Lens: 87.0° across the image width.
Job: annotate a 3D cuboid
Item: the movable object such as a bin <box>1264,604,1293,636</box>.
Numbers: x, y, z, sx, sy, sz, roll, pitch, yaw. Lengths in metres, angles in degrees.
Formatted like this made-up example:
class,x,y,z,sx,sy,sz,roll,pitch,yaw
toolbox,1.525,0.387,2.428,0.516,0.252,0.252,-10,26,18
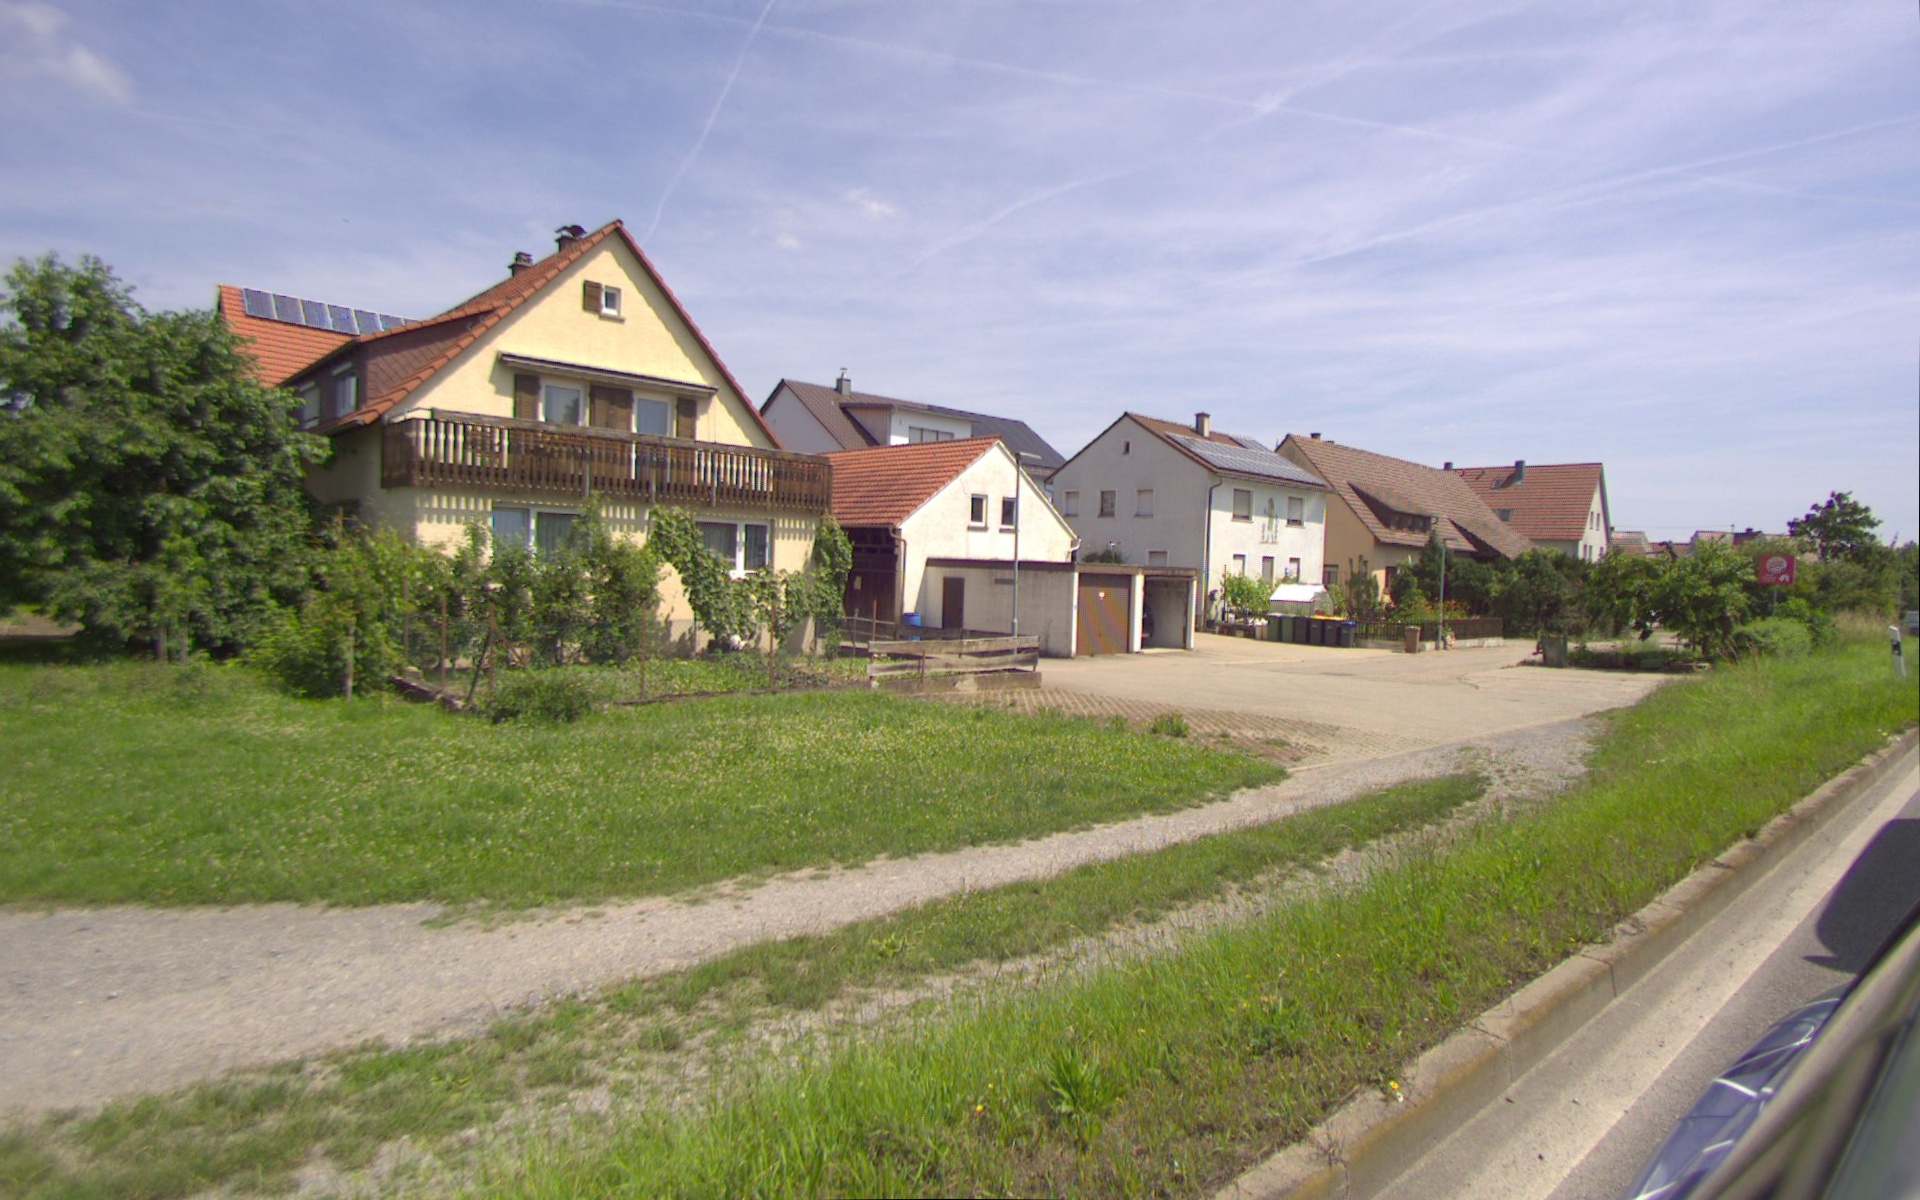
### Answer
class,x,y,z,sx,sy,sz,roll,pitch,yaw
movable object such as a bin,12.632,0.786,40.145,0.874,1.262,0.744,1,0,-42

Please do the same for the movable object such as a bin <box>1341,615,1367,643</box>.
class,x,y,z,sx,sy,sz,roll,pitch,yaw
movable object such as a bin,14.635,1.069,37.565,0.743,1.040,0.645,1,0,-42

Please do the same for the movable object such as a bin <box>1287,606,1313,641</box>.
class,x,y,z,sx,sy,sz,roll,pitch,yaw
movable object such as a bin,13.263,0.916,39.480,0.806,1.355,0.677,1,0,-42

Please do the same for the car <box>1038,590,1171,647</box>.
class,x,y,z,sx,sy,sz,roll,pitch,yaw
car,4.549,0.534,32.201,1.794,1.624,3.995,1,1,-40

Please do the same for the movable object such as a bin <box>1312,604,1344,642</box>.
class,x,y,z,sx,sy,sz,roll,pitch,yaw
movable object such as a bin,13.918,0.856,38.267,0.930,1.387,0.764,1,0,-42

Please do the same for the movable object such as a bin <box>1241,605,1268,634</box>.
class,x,y,z,sx,sy,sz,roll,pitch,yaw
movable object such as a bin,11.854,0.777,40.696,0.816,1.171,0.739,1,0,-42
